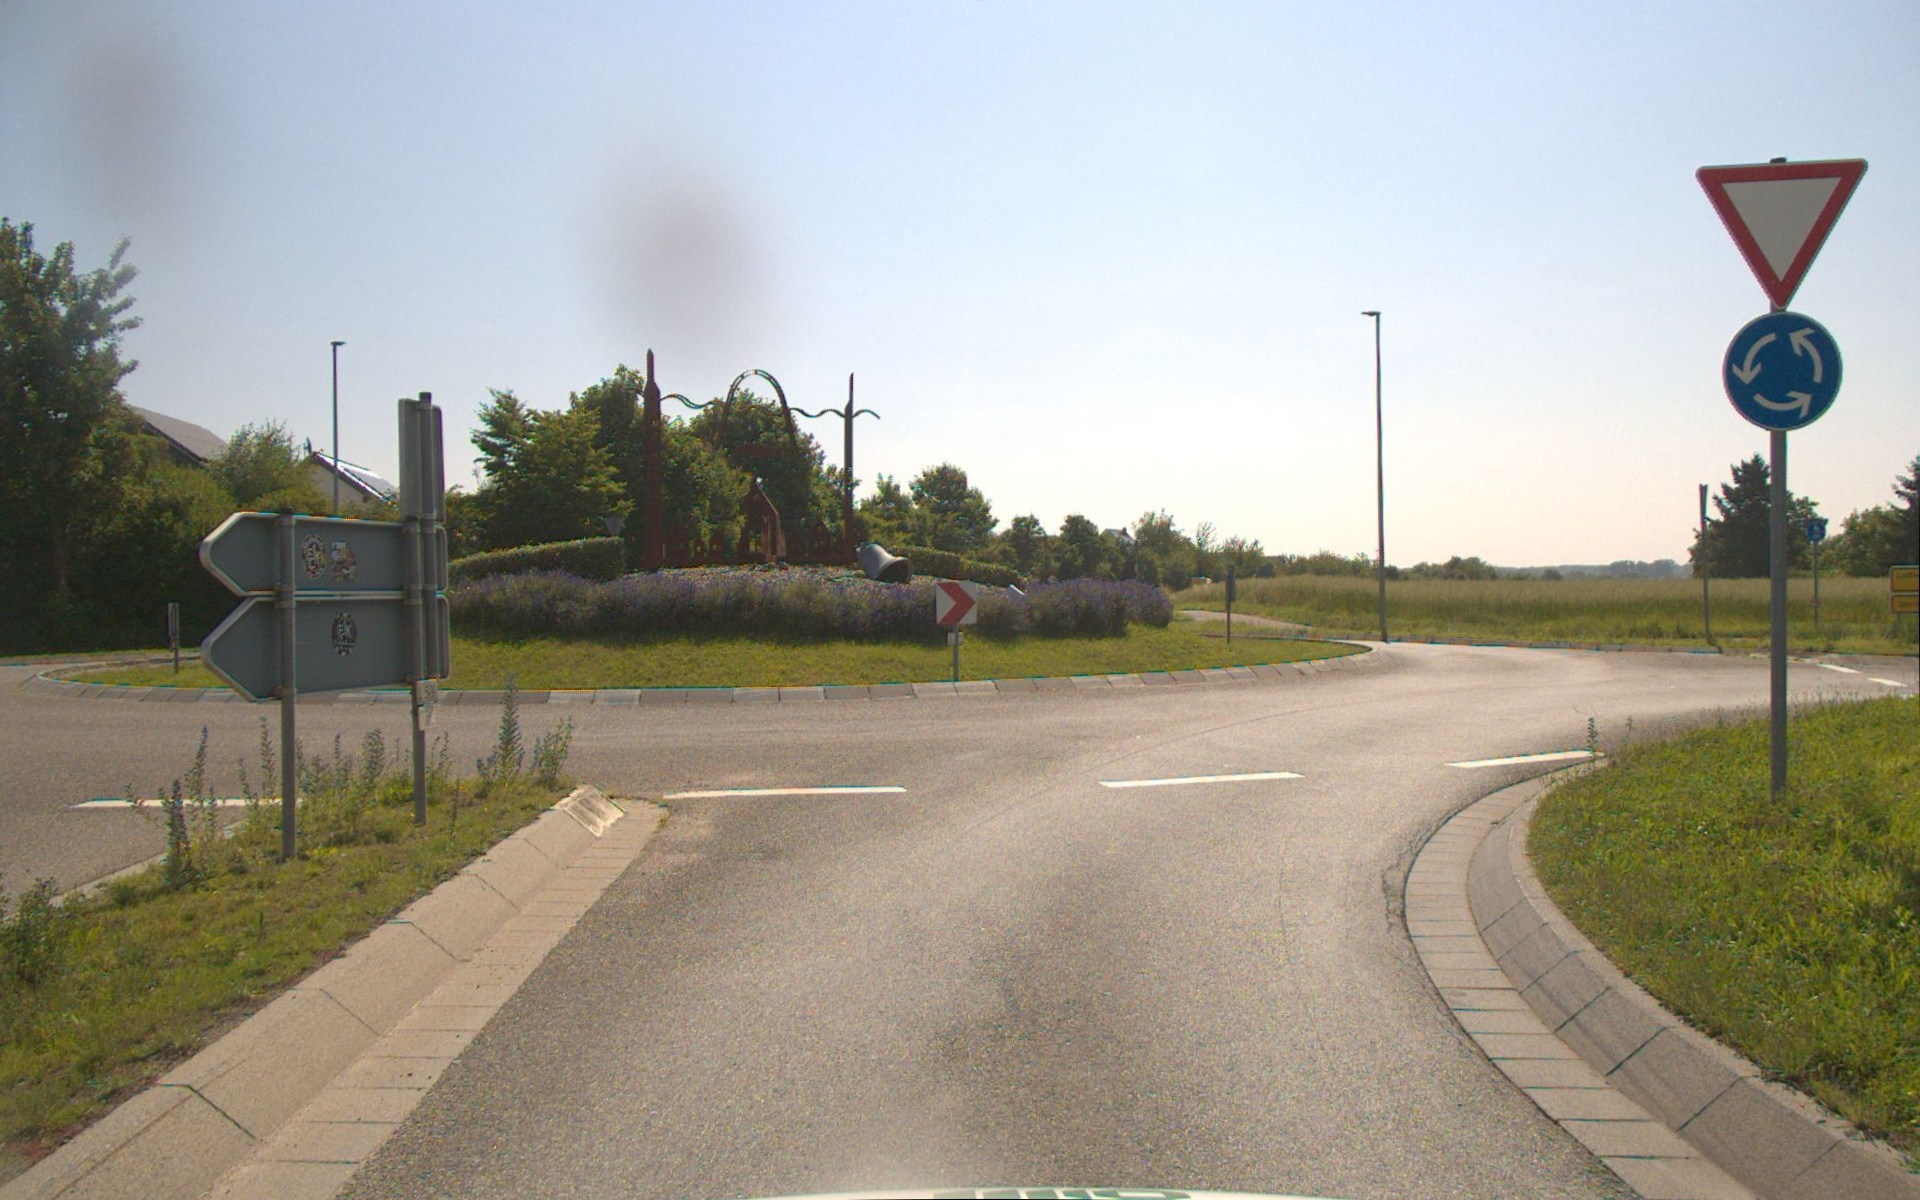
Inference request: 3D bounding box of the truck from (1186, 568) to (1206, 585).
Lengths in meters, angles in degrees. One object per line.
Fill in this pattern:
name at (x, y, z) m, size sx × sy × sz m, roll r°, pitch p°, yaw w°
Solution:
truck at (28.757, -2.818, 201.403) m, size 1.951 × 2.049 × 4.003 m, roll 0°, pitch 1°, yaw 14°
